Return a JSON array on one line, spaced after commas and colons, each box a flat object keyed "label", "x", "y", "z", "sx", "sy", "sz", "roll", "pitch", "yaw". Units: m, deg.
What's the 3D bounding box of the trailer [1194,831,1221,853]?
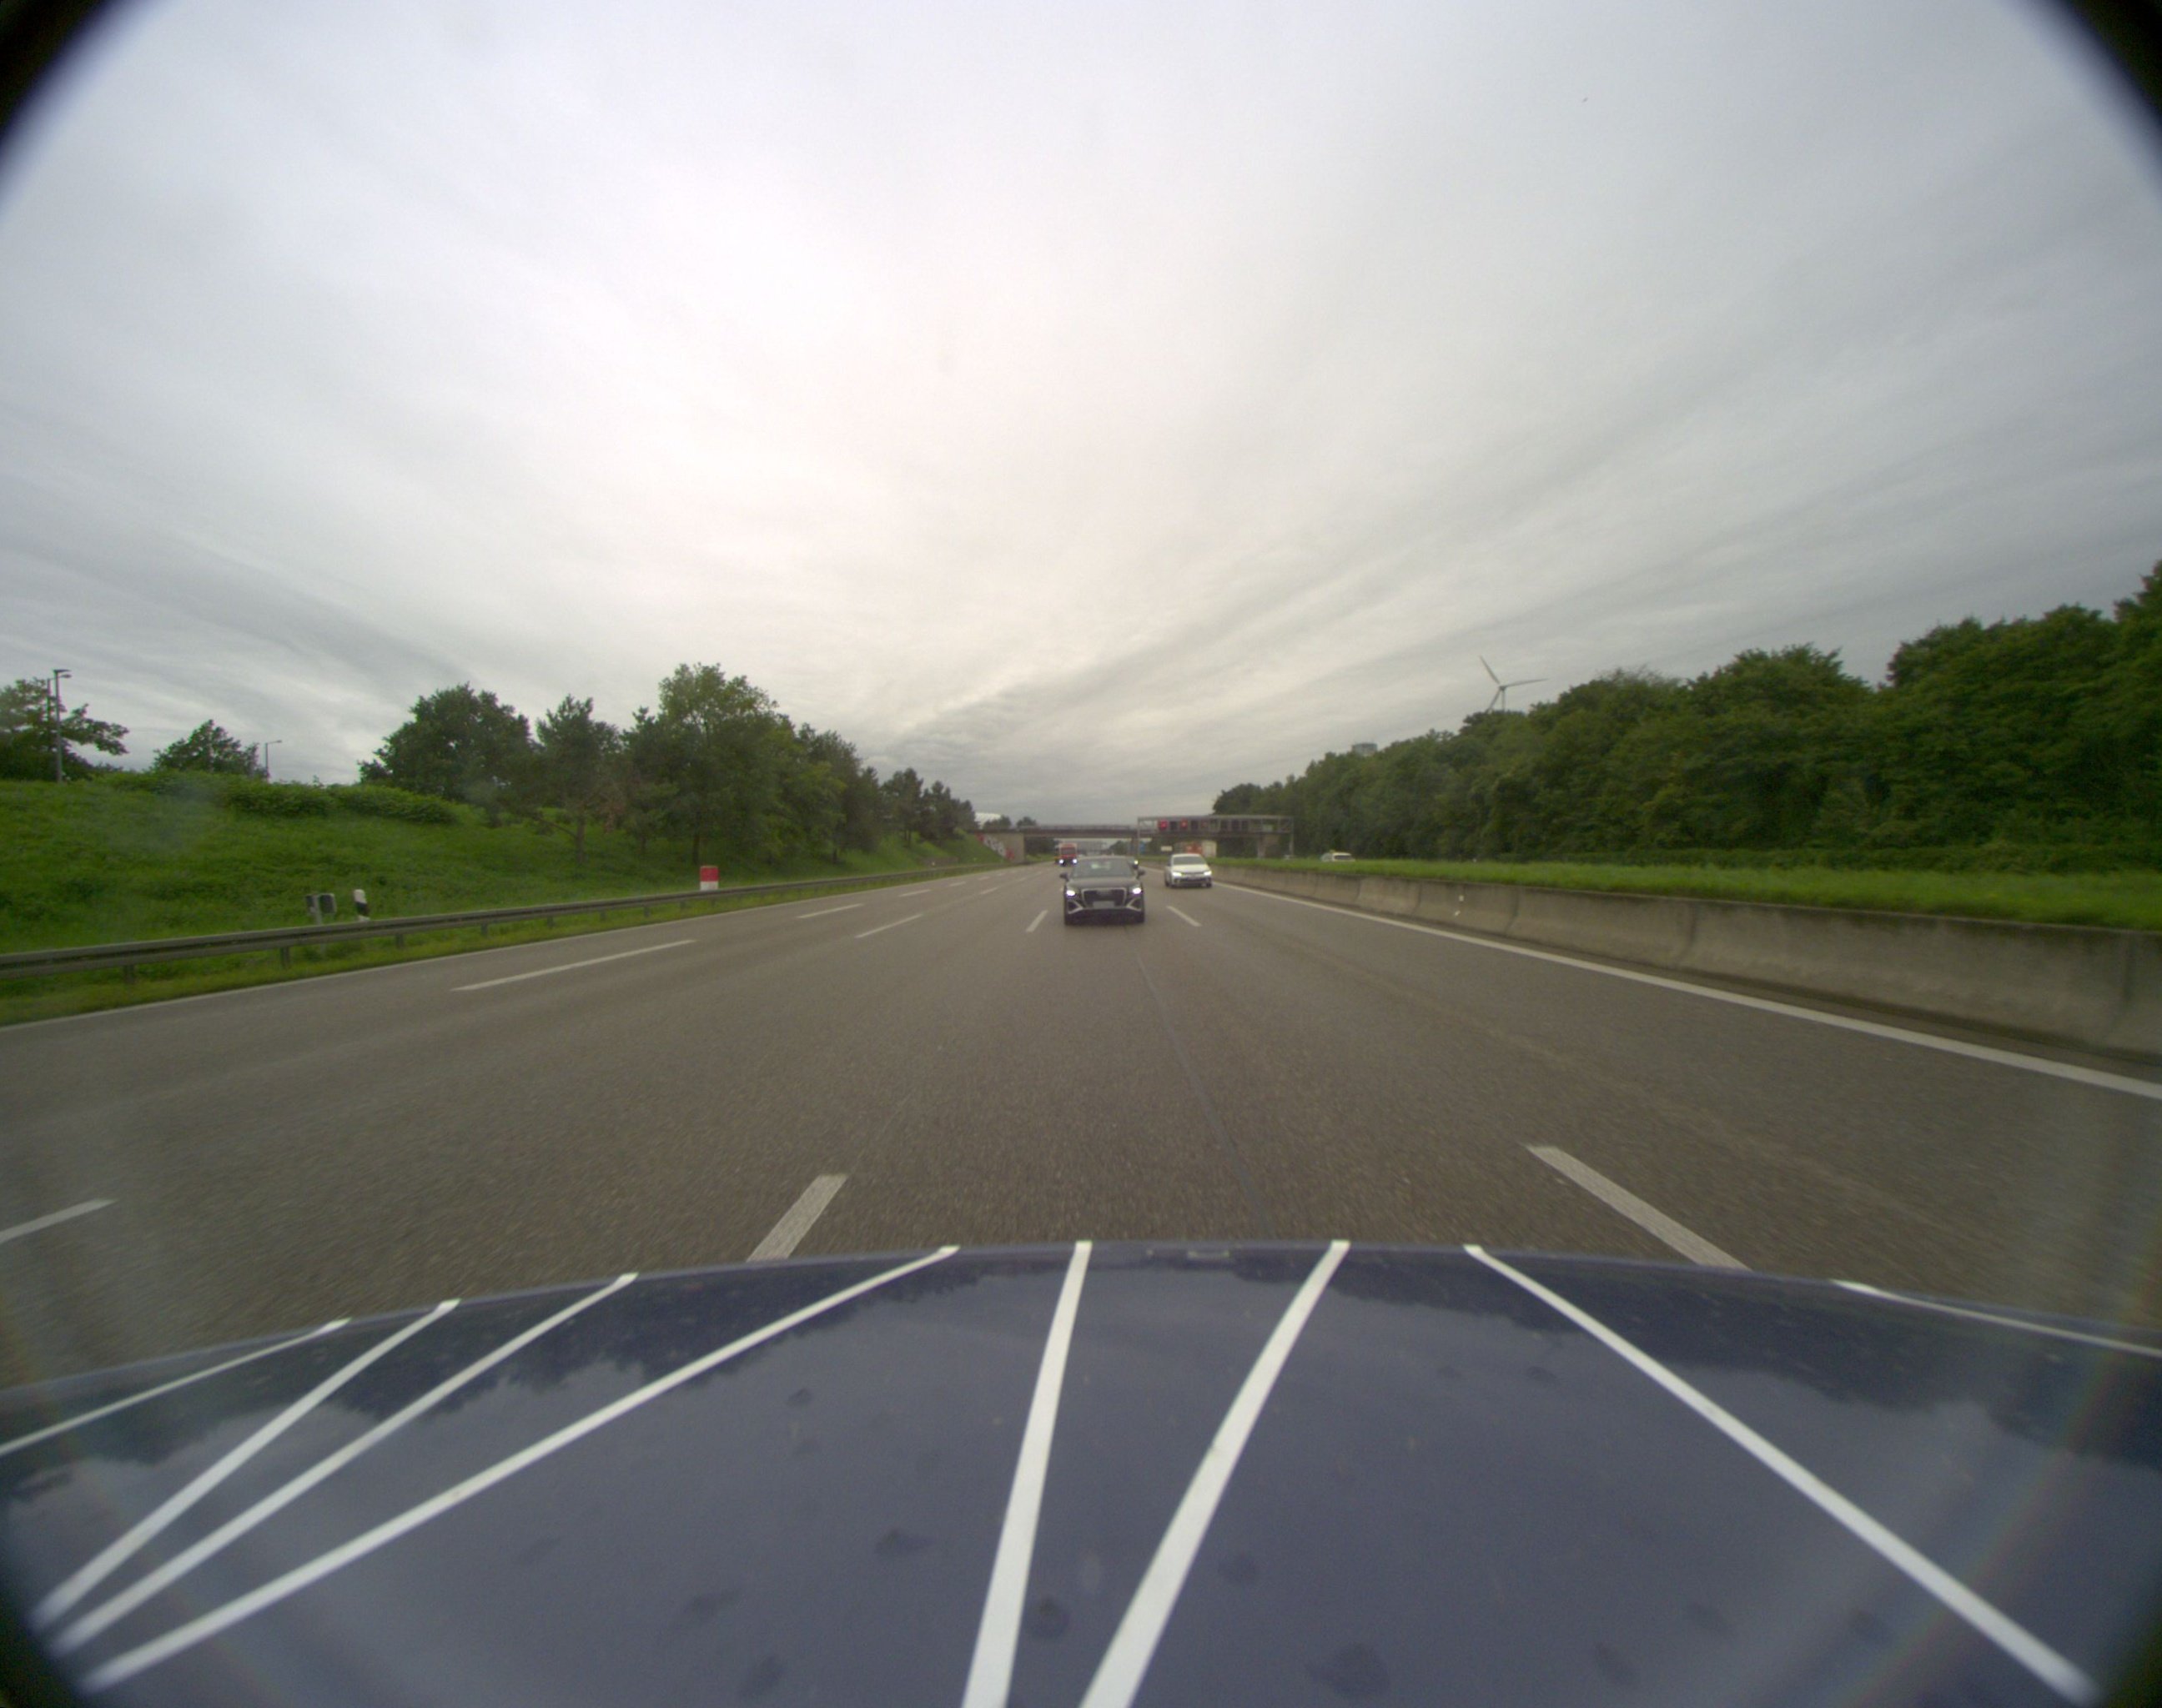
[{"label": "trailer", "x": 22.208, "y": -2.103, "z": 133.972, "sx": 2.692, "sy": 3.520, "sz": 11.868, "roll": -2, "pitch": 1, "yaw": 1}]

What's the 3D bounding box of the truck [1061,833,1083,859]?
[{"label": "truck", "x": -1.346, "y": -1.280, "z": 117.915, "sx": 2.836, "sy": 3.634, "sz": 10.671, "roll": -2, "pitch": 1, "yaw": 2}]

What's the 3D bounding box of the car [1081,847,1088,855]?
[{"label": "car", "x": 0.935, "y": -0.737, "z": 201.636, "sx": 1.580, "sy": 2.002, "sz": 3.371, "roll": -2, "pitch": 1, "yaw": 1}]

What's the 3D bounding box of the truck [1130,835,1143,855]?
[{"label": "truck", "x": 12.361, "y": -2.005, "z": 169.238, "sx": 2.067, "sy": 4.354, "sz": 6.423, "roll": -2, "pitch": 1, "yaw": -1}]

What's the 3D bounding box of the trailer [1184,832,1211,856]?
[{"label": "trailer", "x": 17.911, "y": -1.586, "z": 117.300, "sx": 2.939, "sy": 3.439, "sz": 8.319, "roll": -2, "pitch": 1, "yaw": 1}]

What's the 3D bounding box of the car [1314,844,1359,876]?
[{"label": "car", "x": 16.854, "y": 0.372, "z": 50.239, "sx": 1.624, "sy": 2.002, "sz": 4.000, "roll": -2, "pitch": 1, "yaw": 1}]

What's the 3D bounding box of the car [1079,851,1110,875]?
[{"label": "car", "x": 0.956, "y": 0.593, "z": 52.849, "sx": 1.998, "sy": 1.555, "sz": 4.910, "roll": -2, "pitch": 0, "yaw": 1}]

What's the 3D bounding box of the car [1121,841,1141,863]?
[{"label": "car", "x": 4.903, "y": -0.198, "z": 75.213, "sx": 1.725, "sy": 2.002, "sz": 3.851, "roll": -2, "pitch": 1, "yaw": 1}]

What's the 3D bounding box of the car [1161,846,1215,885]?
[{"label": "car", "x": 4.686, "y": 0.470, "z": 33.852, "sx": 1.757, "sy": 1.608, "sz": 4.663, "roll": -1, "pitch": 0, "yaw": 0}]

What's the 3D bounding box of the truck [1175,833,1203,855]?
[{"label": "truck", "x": 18.064, "y": -1.676, "z": 127.242, "sx": 2.958, "sy": 3.446, "sz": 11.183, "roll": -2, "pitch": 1, "yaw": 0}]

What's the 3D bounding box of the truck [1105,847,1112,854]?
[{"label": "truck", "x": 8.457, "y": -0.999, "z": 237.661, "sx": 1.998, "sy": 2.002, "sz": 4.000, "roll": -2, "pitch": 0, "yaw": 1}]

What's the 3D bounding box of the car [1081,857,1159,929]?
[{"label": "car", "x": 0.834, "y": 0.831, "z": 17.786, "sx": 1.616, "sy": 1.403, "sz": 3.326, "roll": -2, "pitch": 1, "yaw": 0}]

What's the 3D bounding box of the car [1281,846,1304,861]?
[{"label": "car", "x": 28.388, "y": -0.098, "z": 102.257, "sx": 1.998, "sy": 1.778, "sz": 4.304, "roll": -2, "pitch": 1, "yaw": 2}]

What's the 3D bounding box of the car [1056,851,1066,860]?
[{"label": "car", "x": -4.392, "y": 0.308, "z": 170.448, "sx": 1.998, "sy": 2.002, "sz": 4.000, "roll": -2, "pitch": 1, "yaw": 2}]
